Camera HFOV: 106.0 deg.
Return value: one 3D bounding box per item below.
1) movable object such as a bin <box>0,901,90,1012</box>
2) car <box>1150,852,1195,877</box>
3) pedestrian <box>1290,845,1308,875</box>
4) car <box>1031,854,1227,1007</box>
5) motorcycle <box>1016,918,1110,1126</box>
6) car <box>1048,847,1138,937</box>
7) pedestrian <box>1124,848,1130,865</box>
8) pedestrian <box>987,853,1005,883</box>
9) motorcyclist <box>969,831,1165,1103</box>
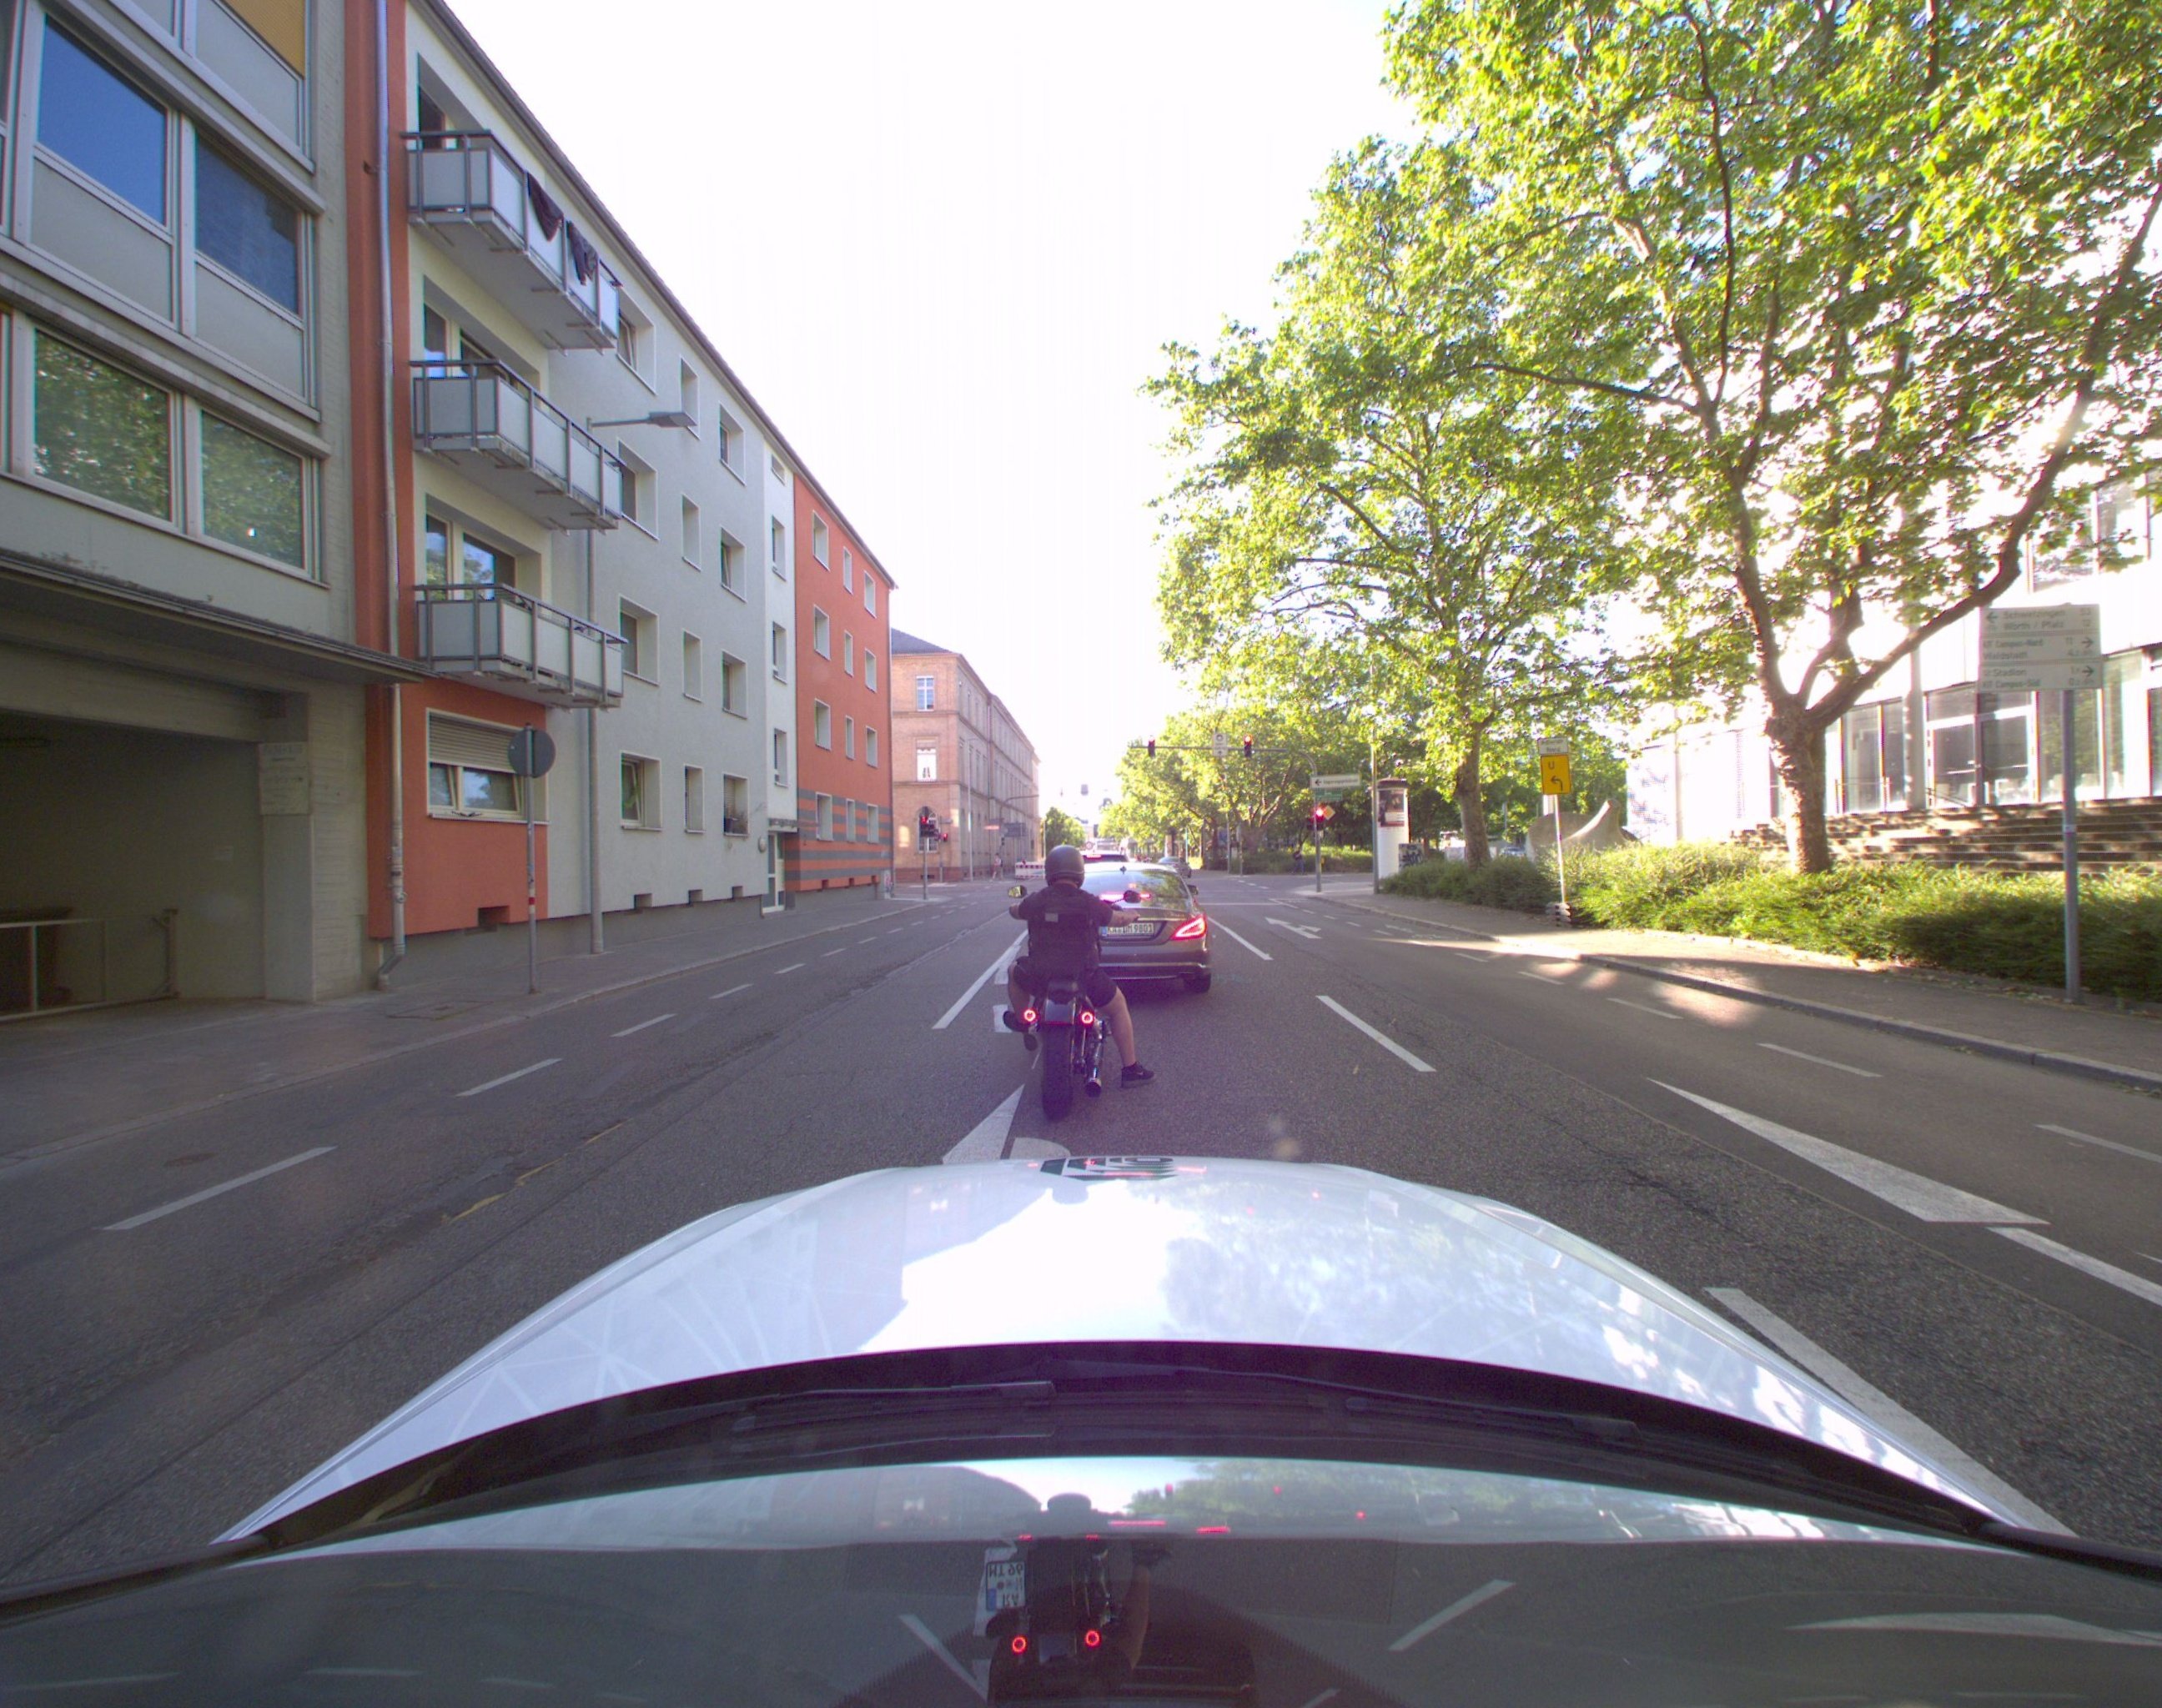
[{"bbox_3d":[-11.250,1.067,8.650,0.626,1.100,0.659,0,-1,4],"label":"movable object such as a bin"},{"bbox_3d":[5.972,0.653,52.751,1.836,1.575,4.157,-1,-1,21],"label":"car"},{"bbox_3d":[13.754,0.385,51.314,0.914,1.910,0.756,-1,-1,28],"label":"pedestrian"},{"bbox_3d":[0.524,0.740,9.747,1.875,1.449,3.821,0,0,2],"label":"car"},{"bbox_3d":[-0.069,1.005,5.494,0.511,1.002,2.014,0,-1,2],"label":"motorcycle"},{"bbox_3d":[0.283,0.693,16.875,1.615,1.594,4.002,-1,0,2],"label":"car"},{"bbox_3d":[5.735,0.278,101.018,0.761,2.051,0.712,0,-1,1],"label":"pedestrian"},{"bbox_3d":[-5.238,0.831,50.066,1.001,1.826,1.072,0,-1,-10],"label":"pedestrian"},{"bbox_3d":[-0.065,0.672,5.459,1.145,1.598,1.288,0,-1,1],"label":"motorcyclist"}]
